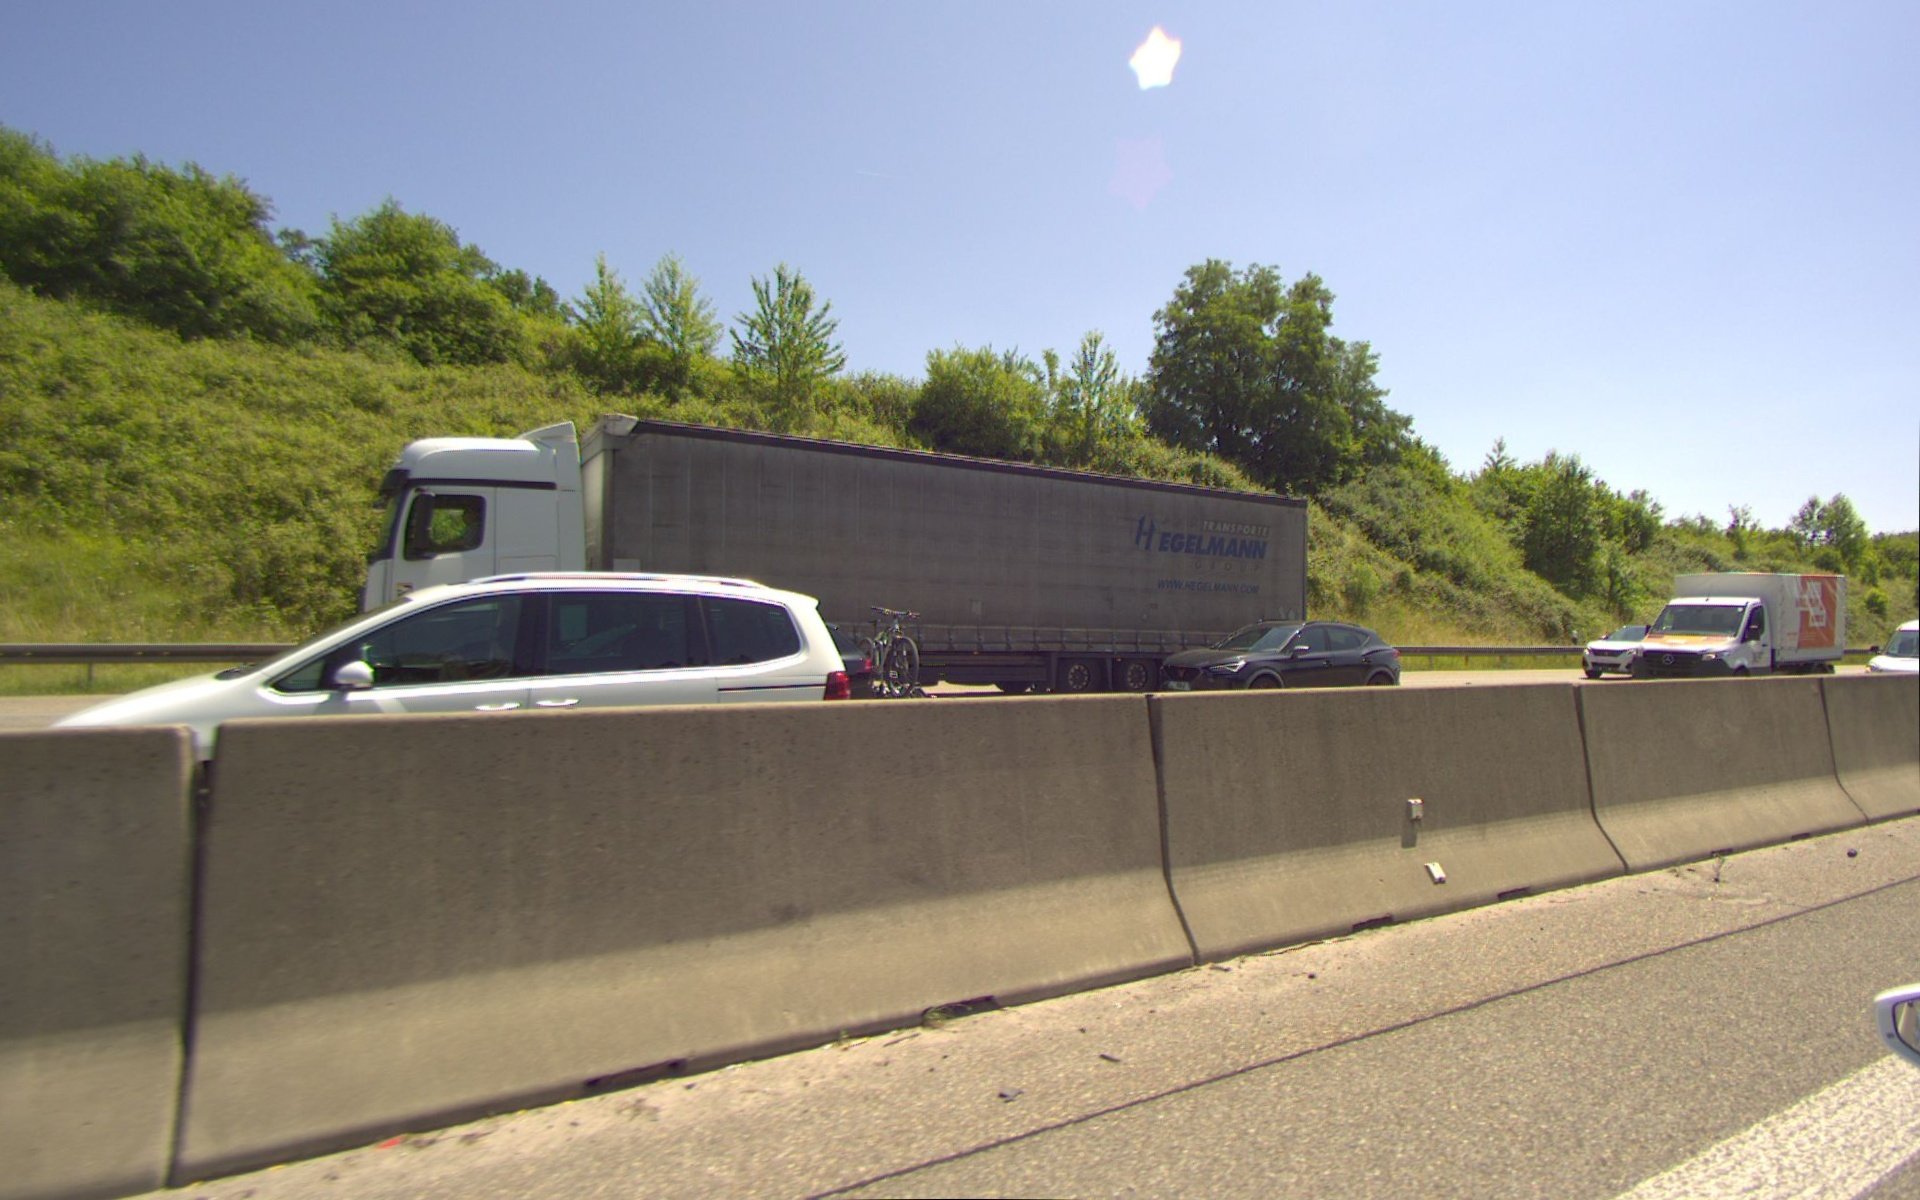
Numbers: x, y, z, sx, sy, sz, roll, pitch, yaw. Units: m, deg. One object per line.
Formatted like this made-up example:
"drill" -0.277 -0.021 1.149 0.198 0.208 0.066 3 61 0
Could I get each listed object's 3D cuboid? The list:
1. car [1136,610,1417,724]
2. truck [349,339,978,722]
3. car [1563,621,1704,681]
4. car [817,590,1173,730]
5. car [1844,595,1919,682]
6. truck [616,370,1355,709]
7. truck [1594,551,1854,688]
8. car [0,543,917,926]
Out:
"car" 5.139 1.039 16.154 4.396 1.578 1.788 2 0 -30
"truck" -4.184 -0.698 15.344 8.500 4.576 2.929 2 0 -29
"car" 19.975 1.507 29.763 4.318 1.608 1.725 2 0 -30
"car" 0.535 0.755 13.398 4.472 1.585 1.818 2 0 -31
"car" 19.687 0.793 19.902 5.053 1.585 1.818 2 0 -31
"truck" 1.215 -0.599 18.279 13.755 4.603 2.982 2 0 -29
"truck" 18.296 0.515 23.947 6.674 2.883 2.556 2 0 -31
"car" -2.902 0.700 6.699 4.934 1.788 1.818 2 0 -31
